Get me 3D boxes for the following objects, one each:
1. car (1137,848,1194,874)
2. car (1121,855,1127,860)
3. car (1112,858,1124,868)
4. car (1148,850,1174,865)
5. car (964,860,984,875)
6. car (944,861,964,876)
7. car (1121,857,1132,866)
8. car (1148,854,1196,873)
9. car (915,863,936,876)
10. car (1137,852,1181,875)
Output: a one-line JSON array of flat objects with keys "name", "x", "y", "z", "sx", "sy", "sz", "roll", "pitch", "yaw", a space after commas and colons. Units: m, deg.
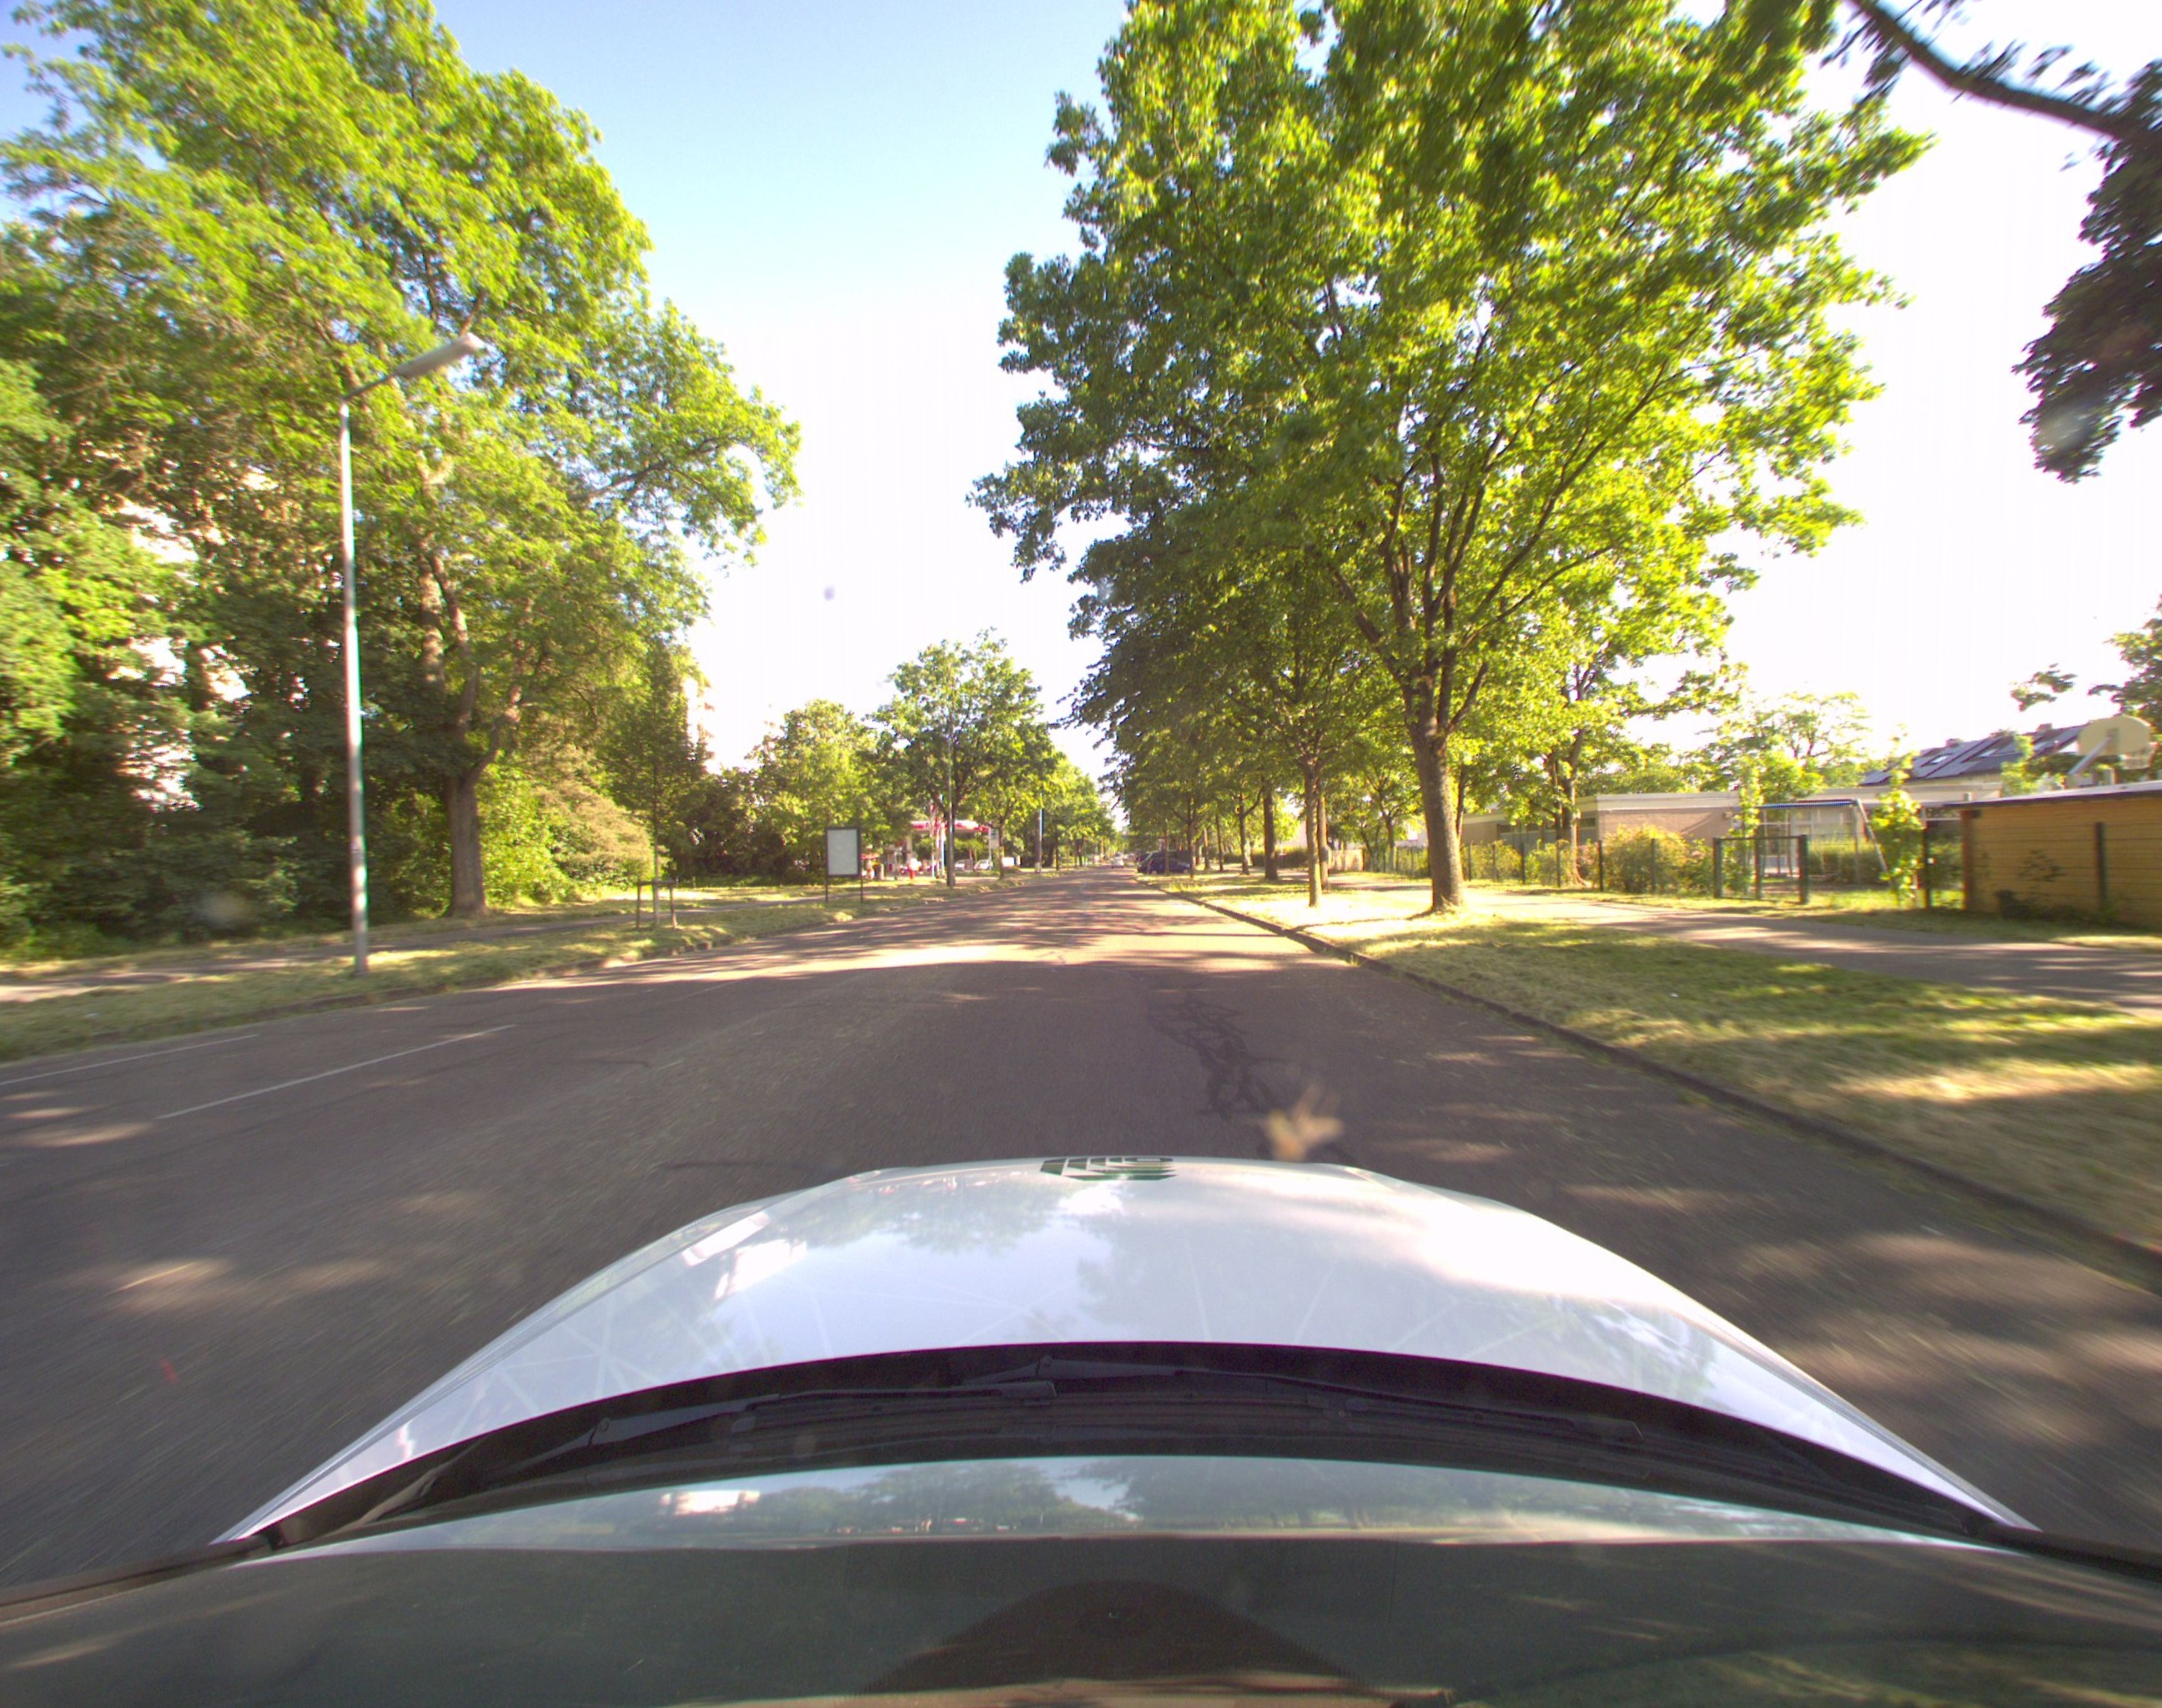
[{"name": "car", "x": 6.900, "y": 0.562, "z": 66.656, "sx": 4.485, "sy": 1.953, "sz": 1.688, "roll": -2, "pitch": -2, "yaw": 2}, {"name": "car", "x": 12.983, "y": 1.119, "z": 245.447, "sx": 1.654, "sy": 1.337, "sz": 3.666, "roll": -2, "pitch": -2, "yaw": 2}, {"name": "car", "x": 5.318, "y": 1.372, "z": 117.885, "sx": 1.654, "sy": 1.337, "sz": 3.666, "roll": -2, "pitch": -2, "yaw": 2}, {"name": "car", "x": 11.301, "y": 0.502, "z": 115.720, "sx": 3.553, "sy": 2.051, "sz": 1.633, "roll": -2, "pitch": -2, "yaw": 2}, {"name": "car", "x": -13.490, "y": 1.722, "z": 102.847, "sx": 1.795, "sy": 1.823, "sz": 3.805, "roll": -2, "pitch": -2, "yaw": 1}, {"name": "car", "x": -16.012, "y": 1.811, "z": 102.775, "sx": 1.795, "sy": 1.823, "sz": 3.805, "roll": -2, "pitch": -2, "yaw": 1}, {"name": "car", "x": 7.811, "y": 1.322, "z": 139.745, "sx": 1.654, "sy": 1.337, "sz": 3.666, "roll": -2, "pitch": -2, "yaw": 2}, {"name": "car", "x": 7.095, "y": 0.757, "z": 63.660, "sx": 3.639, "sy": 1.398, "sz": 1.318, "roll": -2, "pitch": -2, "yaw": 2}, {"name": "car", "x": -20.095, "y": 2.031, "z": 105.403, "sx": 1.794, "sy": 1.621, "sz": 3.806, "roll": -2, "pitch": -2, "yaw": 2}, {"name": "car", "x": 6.618, "y": 0.810, "z": 69.154, "sx": 3.639, "sy": 1.797, "sz": 1.318, "roll": -2, "pitch": -2, "yaw": 2}]
